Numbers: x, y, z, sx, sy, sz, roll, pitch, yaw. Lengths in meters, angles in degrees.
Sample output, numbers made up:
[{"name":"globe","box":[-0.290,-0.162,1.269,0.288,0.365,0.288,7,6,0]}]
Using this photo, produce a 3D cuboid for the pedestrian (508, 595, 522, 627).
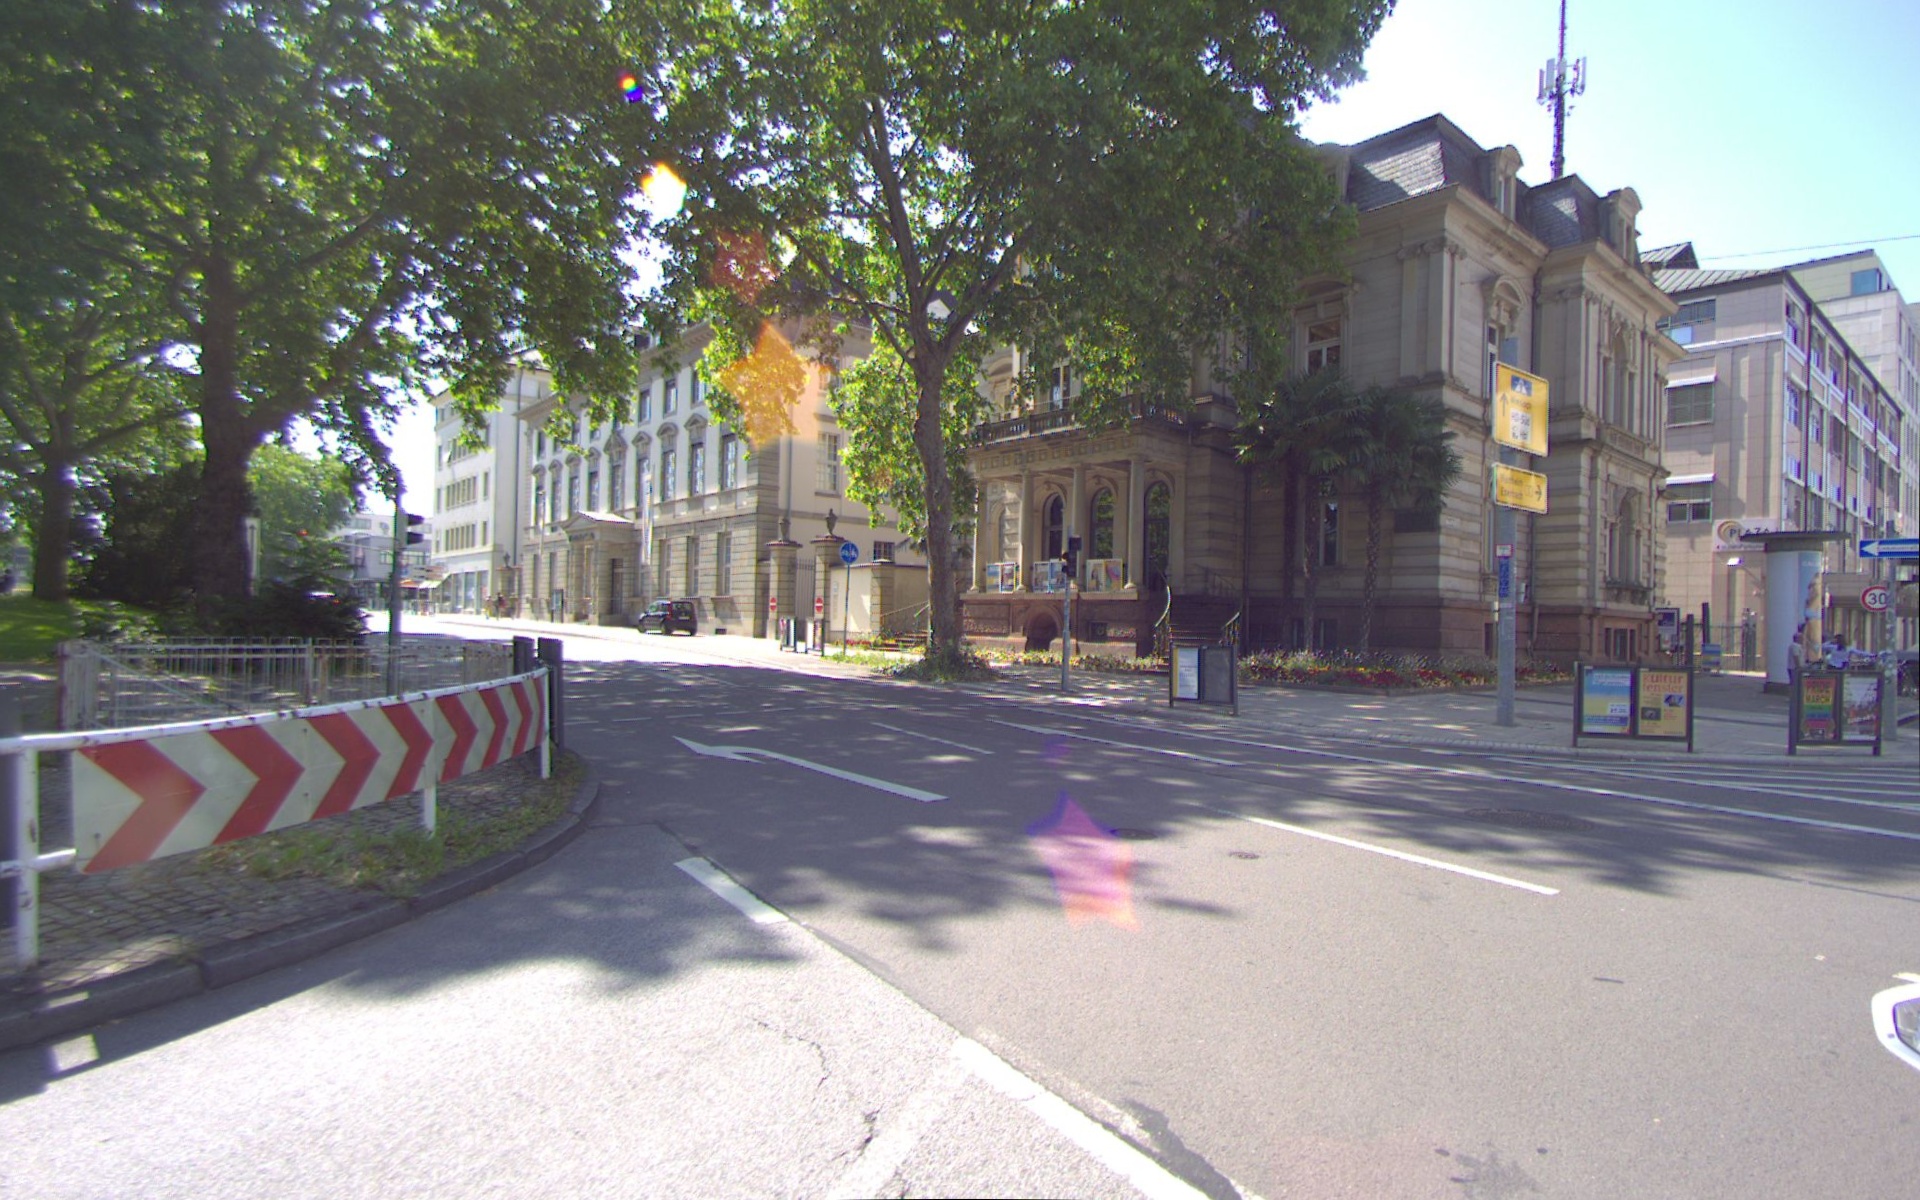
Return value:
[{"name":"pedestrian","box":[-28.884,0.749,65.199,0.689,2.040,0.828,3,-2,-32]}]

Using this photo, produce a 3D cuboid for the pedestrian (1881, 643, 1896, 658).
[{"name":"pedestrian","box":[58.343,3.165,63.111,0.768,0.820,0.561,2,4,-41]}]

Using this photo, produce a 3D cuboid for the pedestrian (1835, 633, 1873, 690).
[{"name":"pedestrian","box":[28.266,1.936,31.762,0.879,1.748,0.744,1,-1,43]}]

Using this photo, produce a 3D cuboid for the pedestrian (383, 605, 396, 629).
[{"name":"pedestrian","box":[-43.783,1.315,77.037,0.691,1.811,0.826,2,-1,-40]}]

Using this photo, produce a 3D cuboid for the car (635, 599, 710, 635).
[{"name":"car","box":[-13.046,0.734,45.443,1.918,1.514,4.014,1,0,-37]}]

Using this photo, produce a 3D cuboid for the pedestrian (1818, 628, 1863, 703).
[{"name":"pedestrian","box":[20.615,1.524,23.526,0.685,1.717,0.689,4,-3,-38]}]

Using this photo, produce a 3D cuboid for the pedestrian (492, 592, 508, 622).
[{"name":"pedestrian","box":[-27.923,0.444,60.966,0.691,1.811,0.826,2,-1,-40]}]

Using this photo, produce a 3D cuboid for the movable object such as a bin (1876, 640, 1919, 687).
[{"name":"movable object such as a bin","box":[32.190,2.155,34.194,1.350,1.470,1.201,1,1,-35]}]

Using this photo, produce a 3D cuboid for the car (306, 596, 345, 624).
[{"name":"car","box":[-41.718,0.660,65.996,1.834,1.758,4.014,1,0,-37]}]

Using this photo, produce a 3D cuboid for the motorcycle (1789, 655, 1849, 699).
[{"name":"motorcycle","box":[20.731,1.852,24.220,2.136,1.011,0.451,3,0,-32]}]

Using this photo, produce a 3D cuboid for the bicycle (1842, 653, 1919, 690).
[{"name":"bicycle","box":[31.093,2.403,33.906,0.506,1.135,1.948,3,-1,-44]}]

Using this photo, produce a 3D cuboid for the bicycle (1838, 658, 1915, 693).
[{"name":"bicycle","box":[30.117,2.462,33.019,0.553,1.087,1.825,5,-4,-43]}]

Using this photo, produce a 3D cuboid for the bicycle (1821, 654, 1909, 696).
[{"name":"bicycle","box":[27.975,2.305,31.091,1.935,1.135,0.554,3,0,39]}]

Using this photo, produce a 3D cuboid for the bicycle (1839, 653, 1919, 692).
[{"name":"bicycle","box":[30.660,2.411,33.495,0.506,1.135,1.954,3,0,-44]}]

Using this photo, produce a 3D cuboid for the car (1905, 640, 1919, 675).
[{"name":"car","box":[43.807,2.589,43.529,1.897,1.514,4.058,1,0,0]}]

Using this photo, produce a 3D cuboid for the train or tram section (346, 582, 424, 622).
[{"name":"train or tram section","box":[-57.254,0.251,100.117,6.253,3.732,2.149,2,-1,-9]}]

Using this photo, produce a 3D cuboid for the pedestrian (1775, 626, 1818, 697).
[{"name":"pedestrian","box":[20.471,1.499,24.579,0.927,1.687,0.546,3,-2,-32]}]

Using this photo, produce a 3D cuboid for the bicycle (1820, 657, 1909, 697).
[{"name":"bicycle","box":[27.479,2.322,30.567,1.938,1.031,0.668,3,0,39]}]

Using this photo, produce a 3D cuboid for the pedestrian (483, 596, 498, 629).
[{"name":"pedestrian","box":[-30.132,0.819,64.412,0.689,2.040,0.828,3,-2,-32]}]

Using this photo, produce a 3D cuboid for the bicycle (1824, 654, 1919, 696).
[{"name":"bicycle","box":[28.533,2.330,31.438,2.208,1.135,0.554,3,0,39]}]

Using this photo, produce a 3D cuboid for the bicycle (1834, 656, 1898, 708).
[{"name":"bicycle","box":[21.004,1.918,23.277,2.217,1.135,0.427,4,-1,-30]}]
